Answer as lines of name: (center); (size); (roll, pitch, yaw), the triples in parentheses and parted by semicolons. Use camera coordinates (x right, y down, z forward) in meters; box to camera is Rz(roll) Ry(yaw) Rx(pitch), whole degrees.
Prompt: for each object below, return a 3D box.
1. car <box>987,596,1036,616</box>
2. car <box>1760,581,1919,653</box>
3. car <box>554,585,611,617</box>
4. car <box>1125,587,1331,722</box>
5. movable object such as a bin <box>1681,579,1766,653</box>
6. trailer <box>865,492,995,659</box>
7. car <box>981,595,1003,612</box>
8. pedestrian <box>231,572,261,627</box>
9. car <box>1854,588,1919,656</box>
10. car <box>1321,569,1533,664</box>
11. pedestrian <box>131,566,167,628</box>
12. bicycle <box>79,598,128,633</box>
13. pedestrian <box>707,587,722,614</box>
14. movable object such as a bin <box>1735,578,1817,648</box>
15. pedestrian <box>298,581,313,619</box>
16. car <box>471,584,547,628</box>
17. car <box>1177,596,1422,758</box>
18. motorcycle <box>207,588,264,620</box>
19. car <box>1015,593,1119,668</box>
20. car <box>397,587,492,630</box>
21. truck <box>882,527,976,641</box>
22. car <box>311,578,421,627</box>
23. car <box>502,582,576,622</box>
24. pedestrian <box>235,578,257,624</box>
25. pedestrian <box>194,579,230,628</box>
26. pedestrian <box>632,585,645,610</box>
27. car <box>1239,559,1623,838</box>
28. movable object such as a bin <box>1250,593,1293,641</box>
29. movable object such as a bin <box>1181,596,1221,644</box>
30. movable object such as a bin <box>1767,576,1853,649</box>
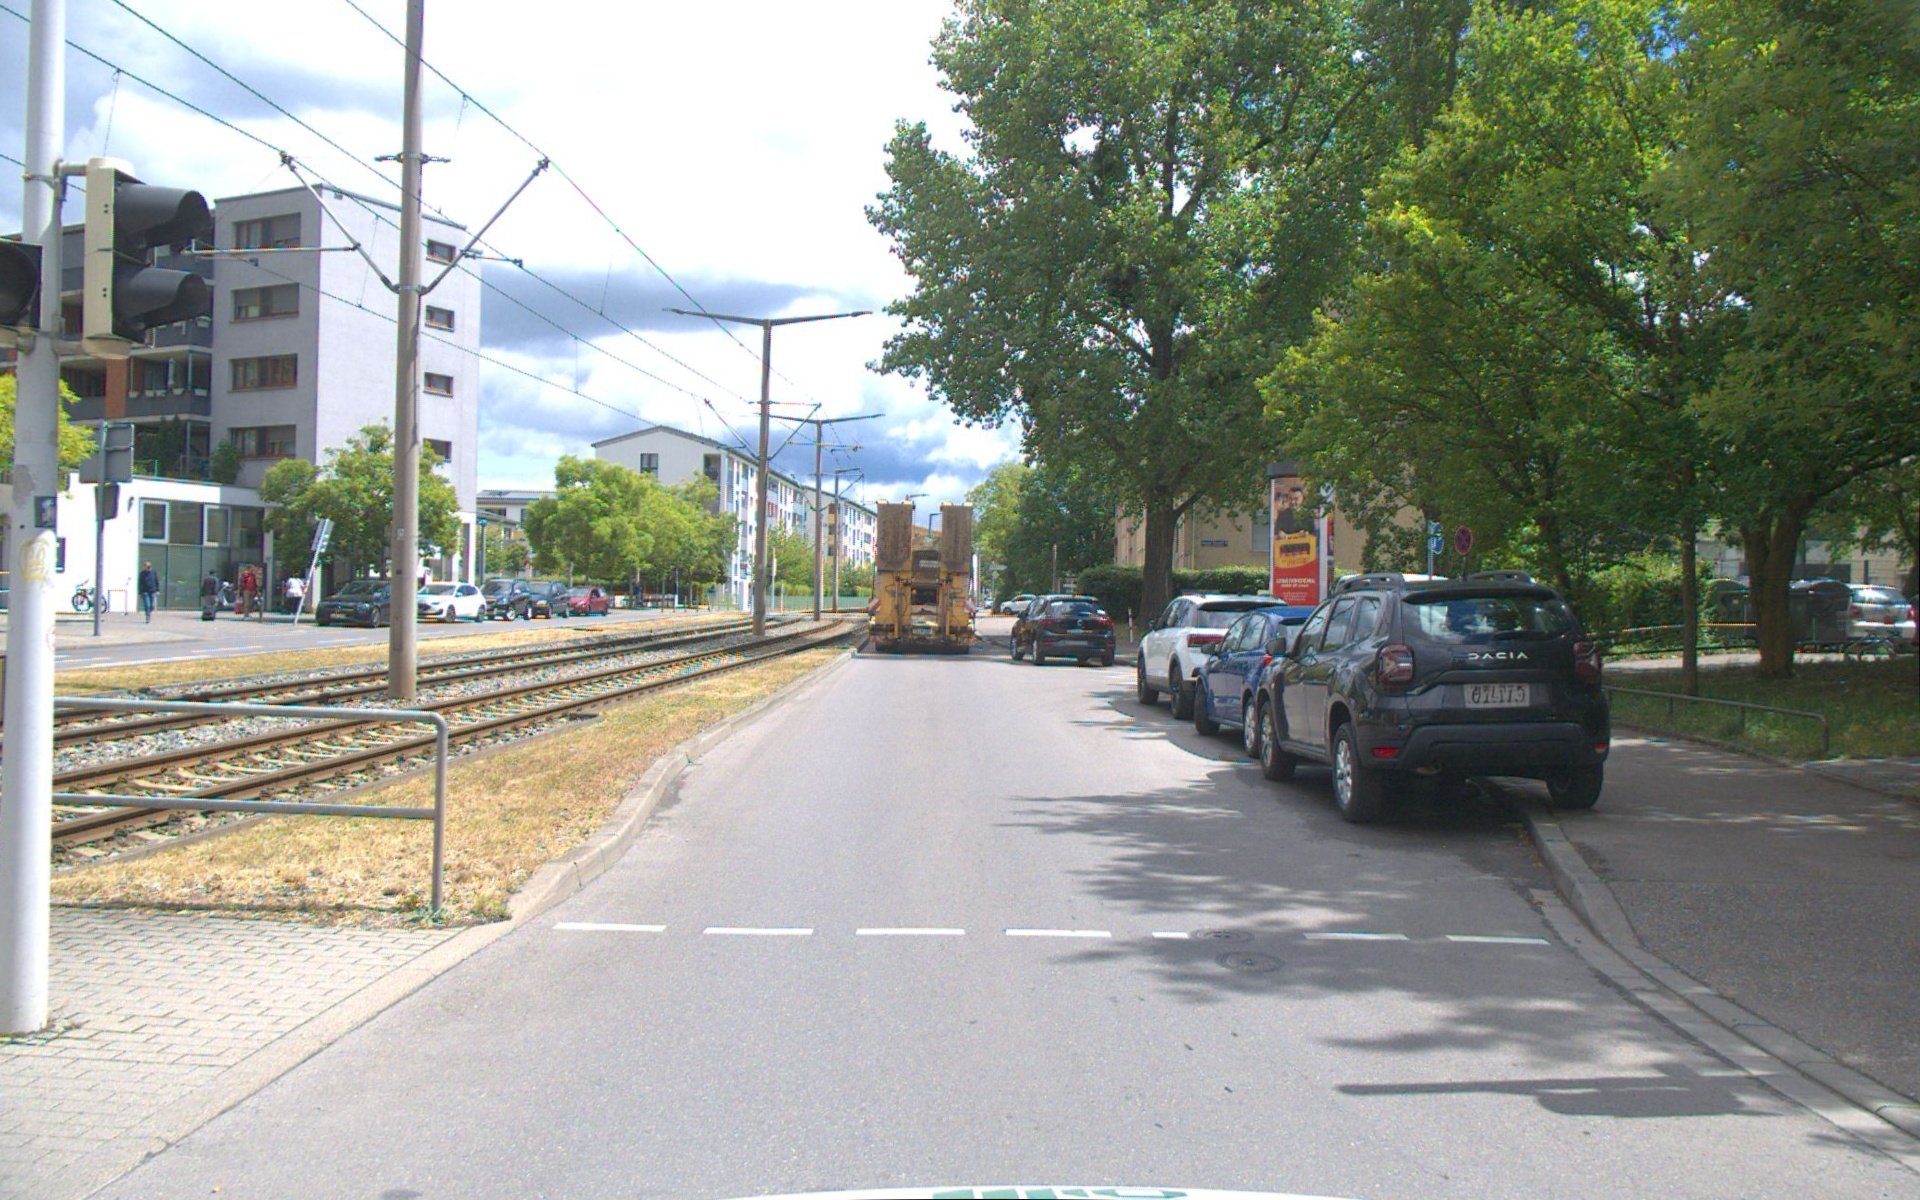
car: (4.088, 0.487, 130.510); (3.521, 1.612, 2.001); (0, -1, 13)
car: (19.627, 0.336, 36.794); (1.900, 1.516, 4.002); (0, 1, 3)
car: (-18.164, 0.033, 79.715); (1.579, 1.451, 3.426); (0, 1, 8)
car: (3.465, 0.635, 22.240); (1.748, 1.592, 4.566); (0, 1, -4)
movable object such as a bin: (15.339, 0.306, 33.268); (1.092, 1.455, 1.285); (0, 1, -2)
trailer: (-0.775, -0.632, 43.978); (2.989, 3.838, 11.610); (0, 1, -1)
car: (2.882, 0.302, 149.302); (1.952, 1.411, 4.001); (0, 1, 1)
pedestrian: (-23.617, -0.027, 54.715); (0.598, 1.824, 0.843); (0, 0, 1)
car: (21.961, 0.489, 37.203); (1.707, 1.468, 4.002); (0, 1, 3)
car: (9.560, 0.300, 33.858); (3.932, 1.854, 1.798); (-1, 1, -23)
pedestrian: (-24.090, -0.090, 49.135); (0.834, 1.824, 0.863); (-1, 1, -36)
bicycle: (-30.535, 0.536, 58.962); (1.932, 1.233, 0.667); (0, 1, 33)
pedestrian: (-15.603, 0.037, 105.030); (0.733, 1.690, 0.870); (0, 0, 5)
movable object such as a bin: (17.405, 0.269, 35.318); (1.092, 1.455, 1.285); (0, 1, -2)
pedestrian: (-25.340, 0.000, 64.062); (0.491, 1.485, 0.556); (0, 0, -26)
car: (-18.242, 0.216, 67.083); (1.953, 1.691, 4.099); (1, 1, -1)
car: (3.485, 0.720, 17.696); (1.611, 1.483, 4.074); (0, 1, -3)
motorcycle: (-28.037, 0.157, 64.003); (1.853, 1.199, 0.741); (0, 0, -1)
car: (2.215, 0.600, 35.148); (1.779, 1.474, 3.824); (0, 1, -3)
car: (-18.895, 0.287, 60.804); (1.717, 1.501, 4.403); (0, 1, 6)
truck: (-0.991, -0.522, 53.185); (2.776, 3.388, 7.983); (0, 1, -1)
car: (-19.107, 0.071, 53.426); (1.698, 1.453, 4.382); (1, 0, 4)
car: (-18.466, 0.078, 72.689); (1.951, 1.676, 4.102); (0, 1, 4)
pedestrian: (-24.989, 0.039, 57.877); (0.655, 1.601, 0.683); (-1, 0, -26)
pedestrian: (-24.306, 0.115, 53.757); (0.588, 1.560, 0.974); (0, 0, 13)
pedestrian: (-20.219, -0.148, 104.100); (0.609, 1.600, 0.558); (0, 0, 12)
car: (3.437, 0.608, 12.990); (1.610, 1.793, 4.568); (0, 1, -1)
movable object such as a bin: (9.637, 0.509, 51.202); (1.145, 1.464, 1.057); (0, 0, -1)
movable object such as a bin: (7.400, 0.605, 50.819); (1.076, 1.464, 0.761); (0, 0, -1)
movable object such as a bin: (17.453, 0.240, 33.976); (1.092, 1.455, 1.285); (0, 1, -2)
